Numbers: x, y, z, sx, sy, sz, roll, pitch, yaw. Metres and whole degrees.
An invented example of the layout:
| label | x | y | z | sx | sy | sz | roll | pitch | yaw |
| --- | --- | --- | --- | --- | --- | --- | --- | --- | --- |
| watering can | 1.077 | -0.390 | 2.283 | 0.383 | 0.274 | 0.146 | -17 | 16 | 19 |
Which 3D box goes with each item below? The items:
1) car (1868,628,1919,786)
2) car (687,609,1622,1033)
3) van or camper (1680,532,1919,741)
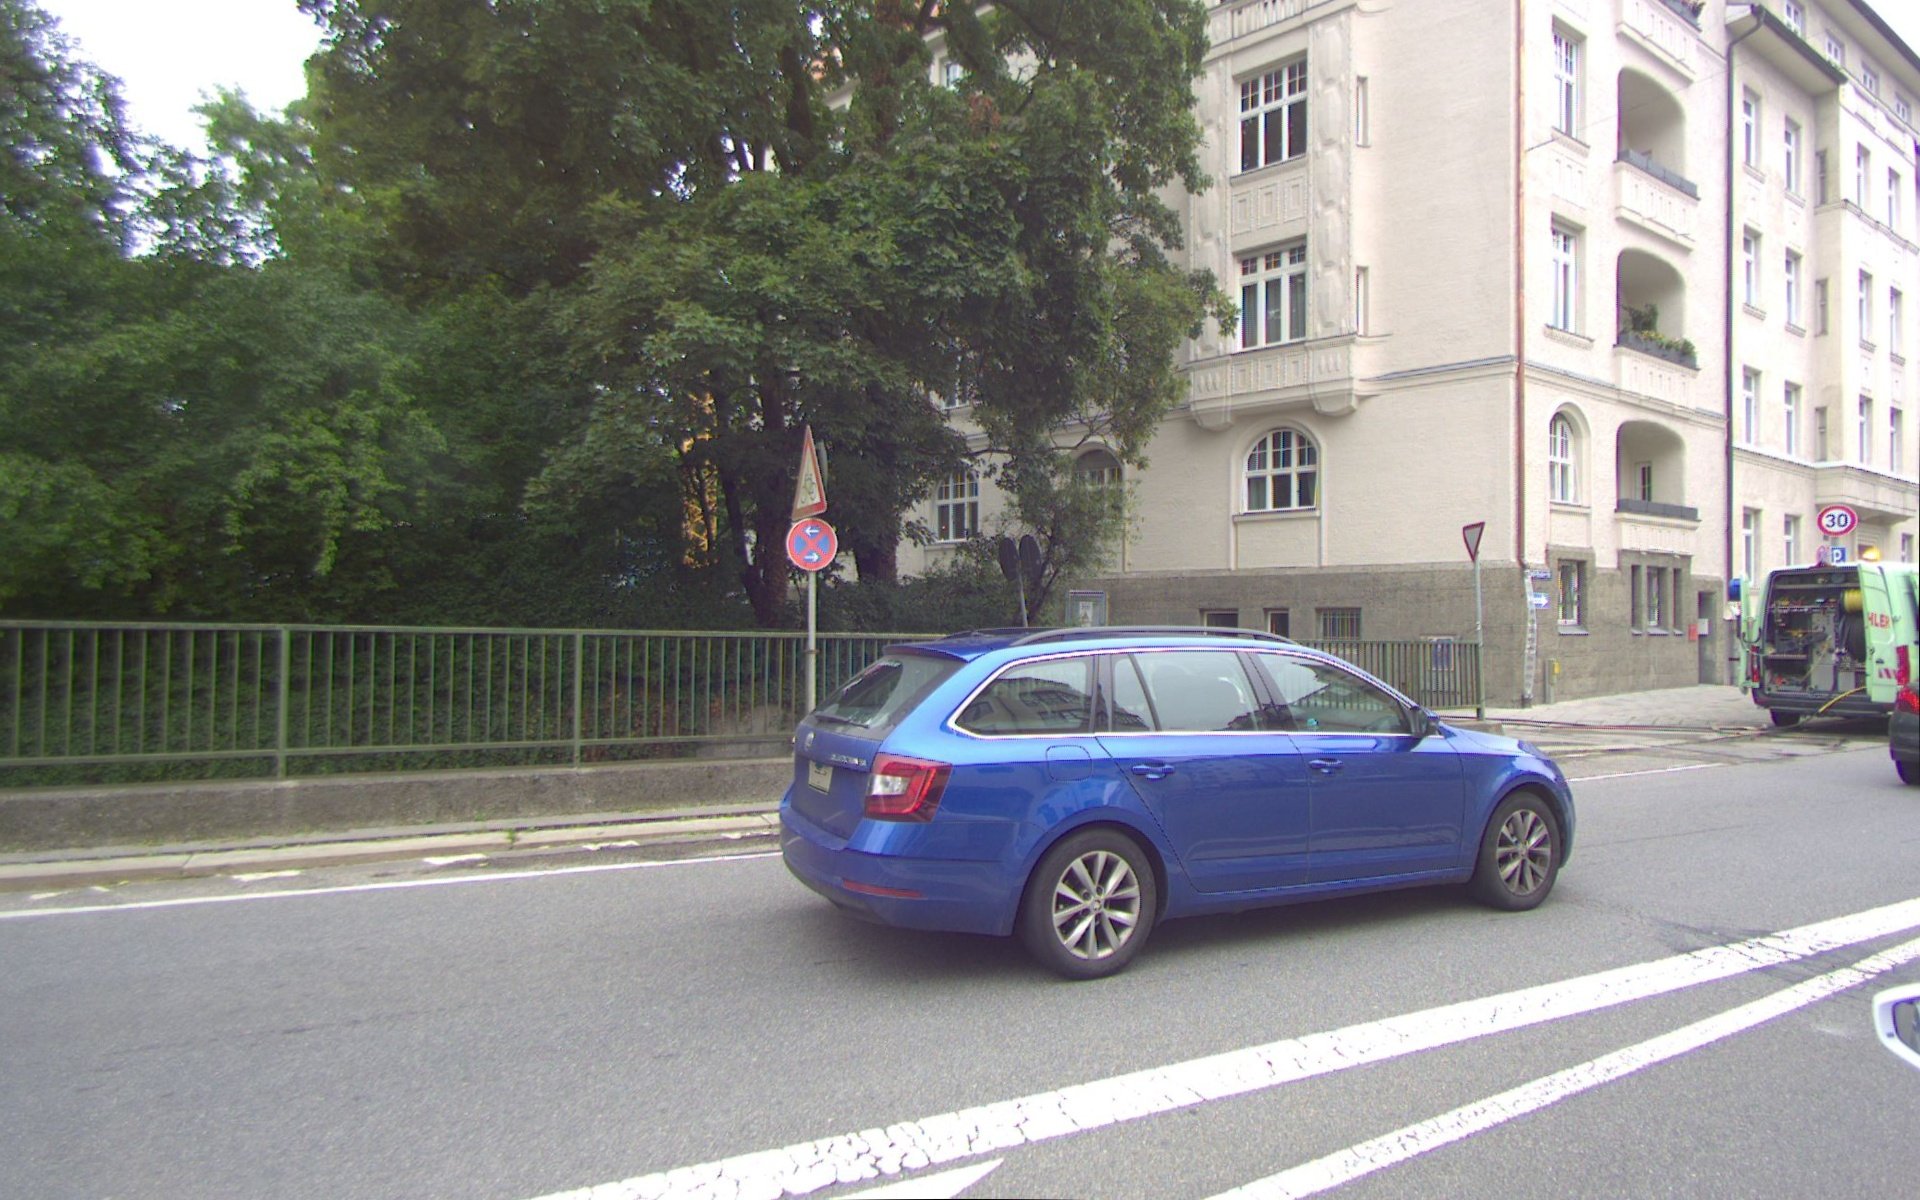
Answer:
| label | x | y | z | sx | sy | sz | roll | pitch | yaw |
| --- | --- | --- | --- | --- | --- | --- | --- | --- | --- |
| car | 11.000 | 1.026 | 9.911 | 4.022 | 1.480 | 1.752 | 1 | -2 | -28 |
| car | 1.088 | 0.853 | 5.395 | 4.670 | 1.473 | 1.982 | 2 | -2 | -25 |
| van or camper | 14.769 | 0.532 | 16.583 | 6.117 | 2.878 | 2.586 | 0 | -1 | -32 |
